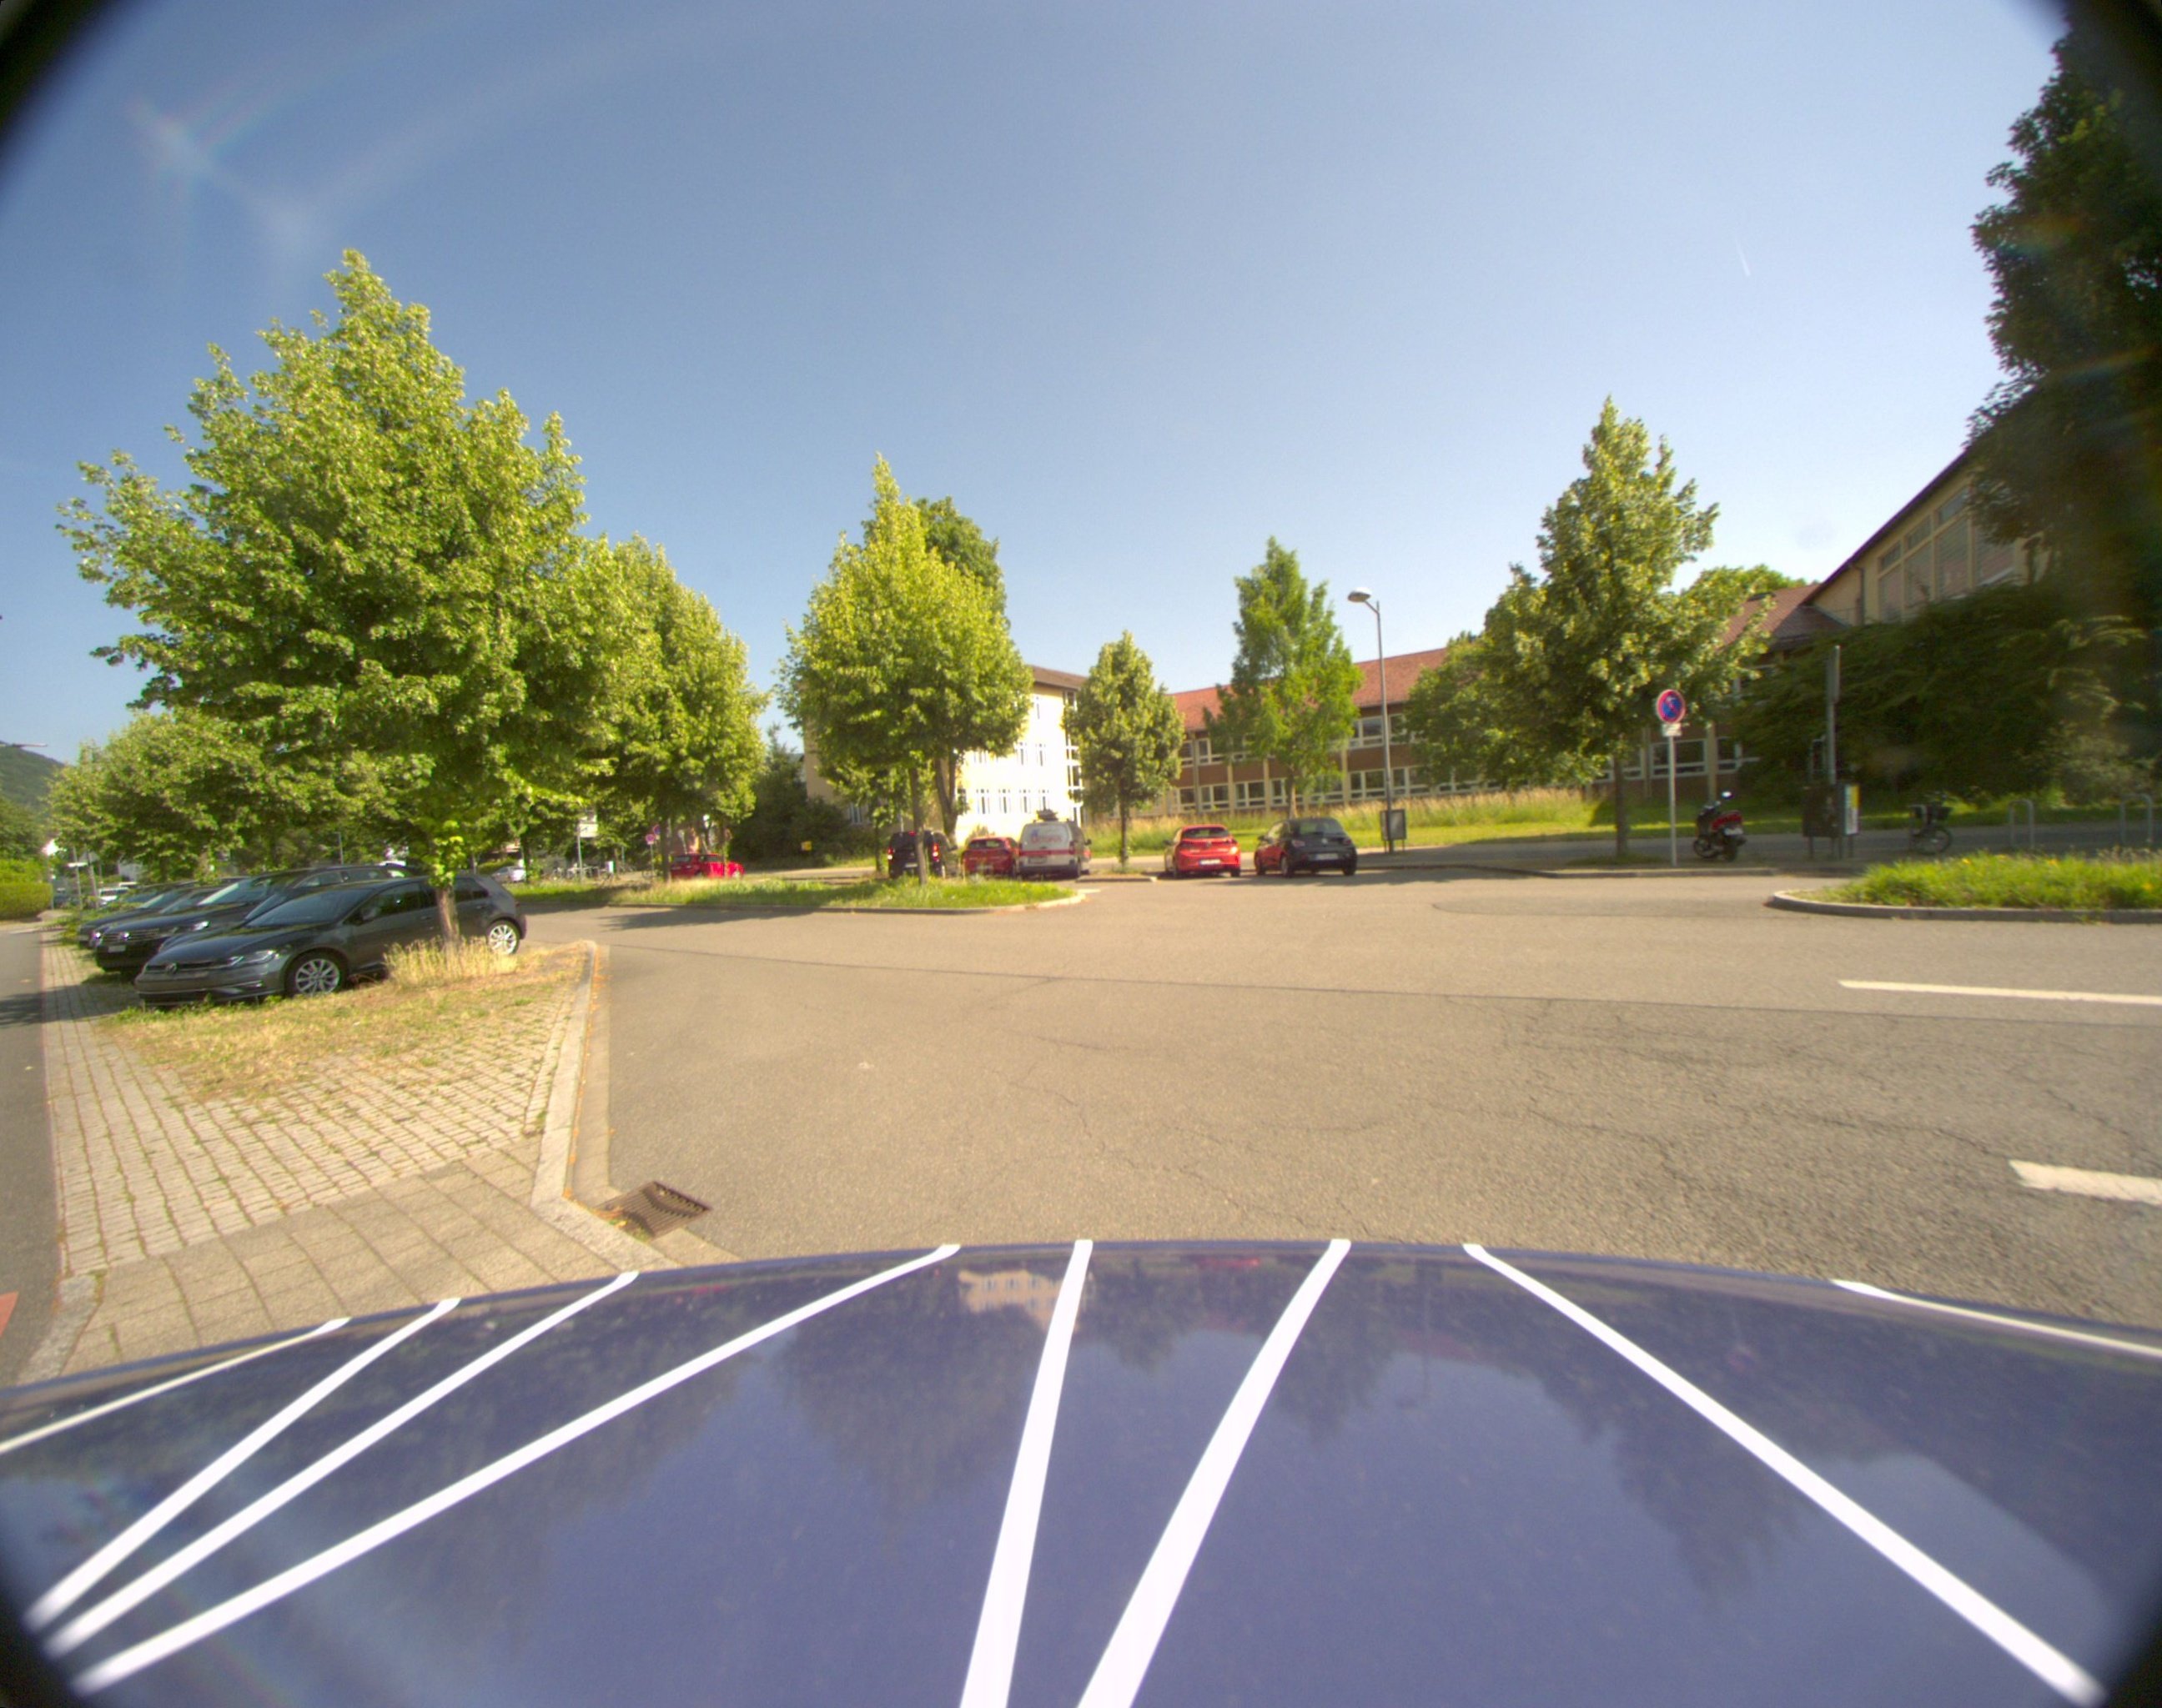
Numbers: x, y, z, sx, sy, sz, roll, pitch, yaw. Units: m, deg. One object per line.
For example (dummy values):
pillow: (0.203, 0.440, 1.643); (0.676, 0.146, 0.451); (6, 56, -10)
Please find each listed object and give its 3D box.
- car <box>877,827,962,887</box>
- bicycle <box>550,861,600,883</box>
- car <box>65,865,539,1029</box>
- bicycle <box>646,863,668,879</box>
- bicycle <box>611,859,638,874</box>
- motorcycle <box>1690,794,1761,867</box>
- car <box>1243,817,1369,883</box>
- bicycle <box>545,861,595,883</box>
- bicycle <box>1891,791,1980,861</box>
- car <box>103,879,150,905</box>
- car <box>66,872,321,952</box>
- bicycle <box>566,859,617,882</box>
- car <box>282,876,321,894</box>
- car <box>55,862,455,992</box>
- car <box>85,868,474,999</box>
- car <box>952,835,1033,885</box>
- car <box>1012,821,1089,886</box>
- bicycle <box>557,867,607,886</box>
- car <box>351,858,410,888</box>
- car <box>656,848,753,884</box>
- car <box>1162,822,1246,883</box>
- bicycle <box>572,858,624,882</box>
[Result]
car: (-5.525, 0.053, 26.607); (2.003, 1.806, 4.187); (-4, 2, -1)
bicycle: (-33.200, 1.151, 49.853); (0.737, 1.232, 2.557); (-3, 1, 34)
car: (-10.343, 1.107, 10.671); (1.997, 1.522, 4.118); (-4, 3, 10)
bicycle: (-24.428, 0.983, 43.753); (1.267, 0.898, 0.523); (-2, 2, 32)
bicycle: (-36.469, 1.004, 60.714); (1.716, 1.075, 0.377); (-5, 2, -13)
motorcycle: (12.195, -0.474, 14.423); (0.691, 1.277, 1.854); (-2, 3, 30)
car: (5.579, -0.137, 19.349); (1.855, 1.415, 3.772); (-3, 2, -4)
bicycle: (-33.942, 1.186, 50.489); (0.737, 1.249, 2.557); (-3, 1, 34)
bicycle: (14.843, -0.511, 13.247); (0.691, 1.086, 1.854); (-2, 3, 38)
car: (-76.243, 2.988, 60.662); (4.586, 1.817, 1.770); (-2, 5, 34)
car: (-23.833, 1.486, 20.638); (1.797, 1.631, 4.003); (-3, 2, 18)
bicycle: (-31.136, 1.034, 48.353); (0.737, 1.249, 2.527); (-3, 1, 34)
car: (-80.006, 3.205, 78.000); (3.990, 1.550, 1.728); (-3, 1, 29)
car: (-14.628, 1.151, 14.013); (1.751, 1.651, 4.746); (-3, 2, 7)
car: (-12.662, 1.148, 12.472); (1.767, 1.465, 4.000); (-4, 3, 7)
car: (-2.885, 0.146, 25.600); (1.854, 1.419, 3.775); (-4, 2, 6)
car: (-0.858, -0.084, 23.941); (1.817, 1.762, 3.774); (-3, 3, 6)
bicycle: (-32.247, 1.455, 49.156); (0.737, 0.982, 2.557); (-3, 1, 34)
car: (-64.966, 1.787, 70.452); (5.938, 2.482, 2.099); (-3, 1, 28)
car: (-18.297, 0.559, 37.130); (1.996, 1.458, 4.004); (-3, 1, 16)
car: (3.294, -0.115, 20.995); (1.714, 1.415, 3.841); (-4, 2, 1)
bicycle: (-30.295, 1.006, 47.729); (0.737, 1.249, 2.557); (-2, 3, 34)
